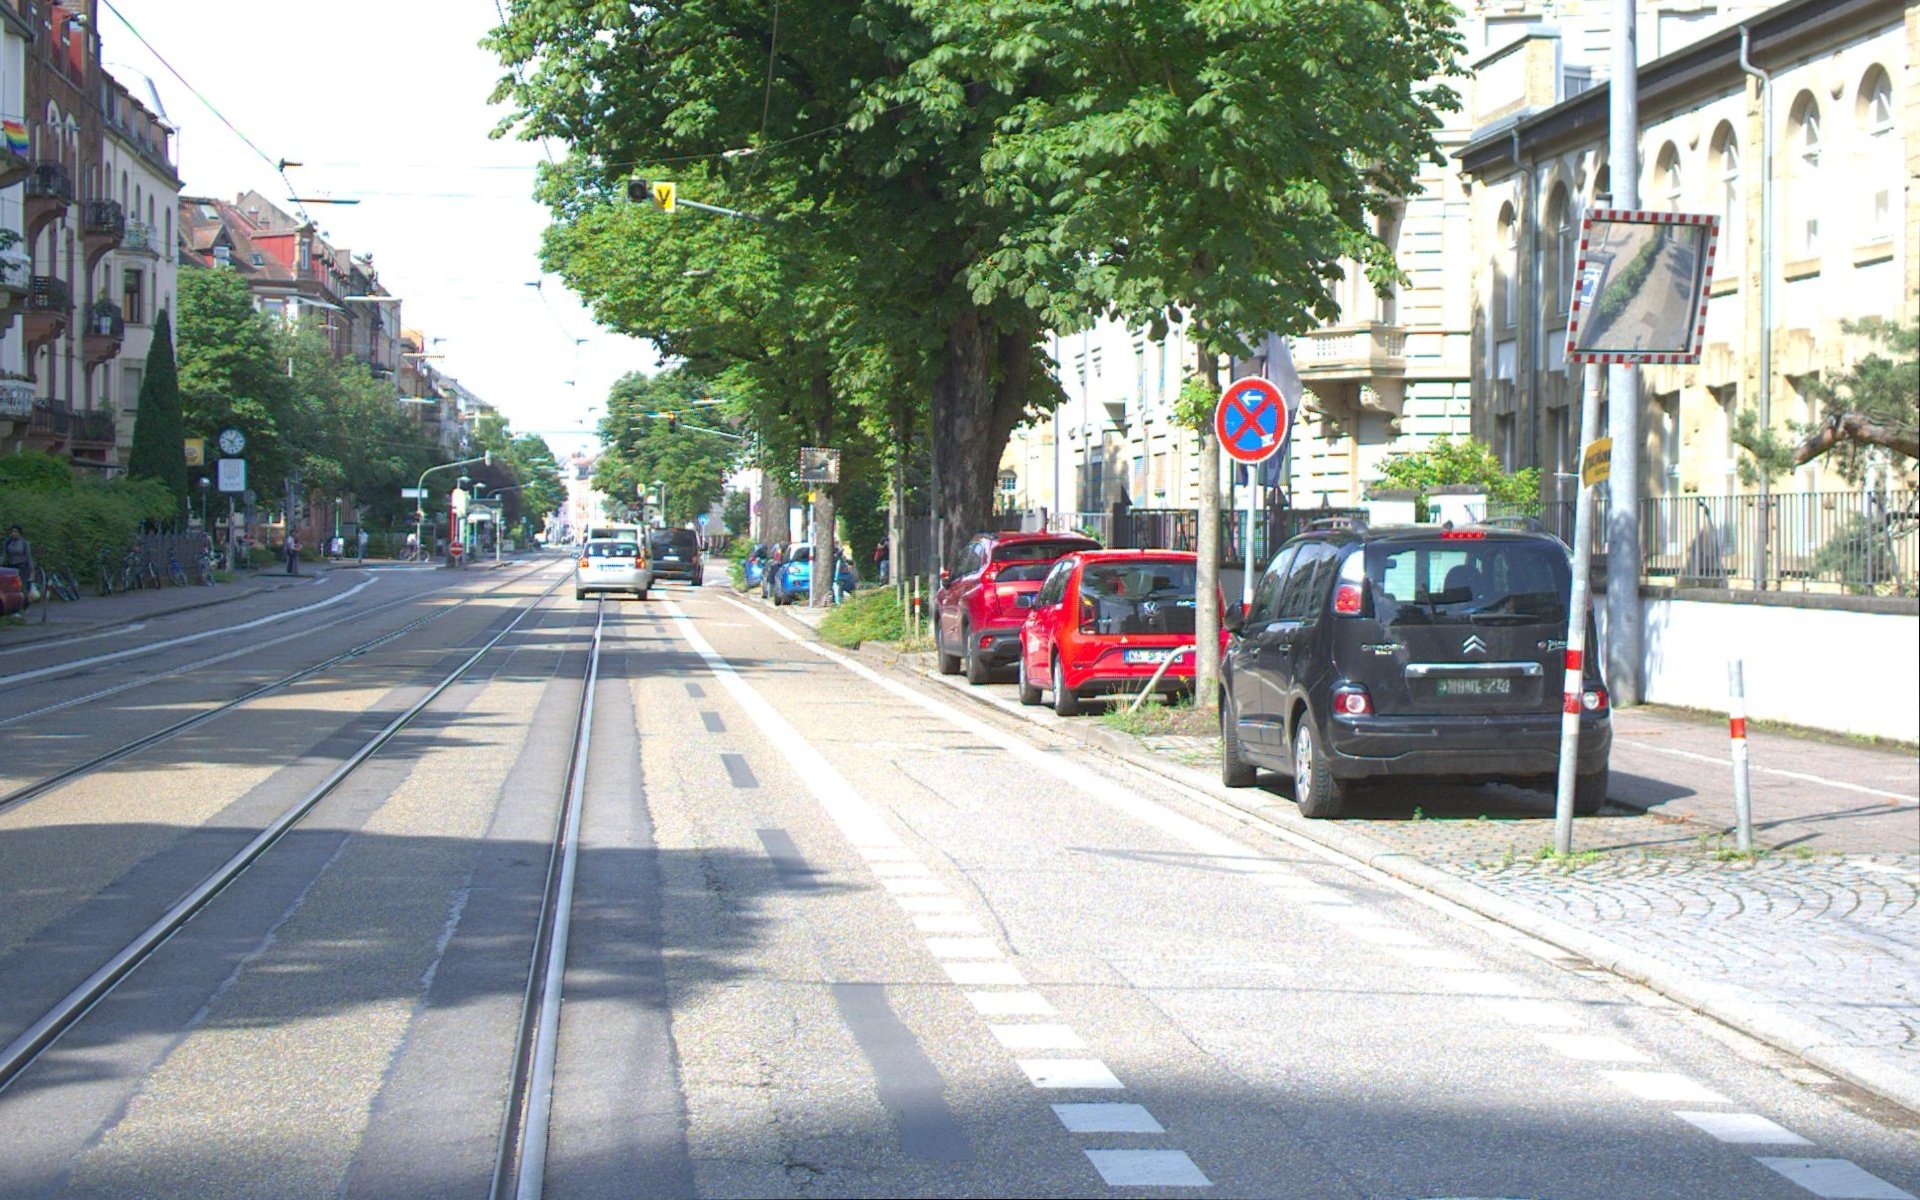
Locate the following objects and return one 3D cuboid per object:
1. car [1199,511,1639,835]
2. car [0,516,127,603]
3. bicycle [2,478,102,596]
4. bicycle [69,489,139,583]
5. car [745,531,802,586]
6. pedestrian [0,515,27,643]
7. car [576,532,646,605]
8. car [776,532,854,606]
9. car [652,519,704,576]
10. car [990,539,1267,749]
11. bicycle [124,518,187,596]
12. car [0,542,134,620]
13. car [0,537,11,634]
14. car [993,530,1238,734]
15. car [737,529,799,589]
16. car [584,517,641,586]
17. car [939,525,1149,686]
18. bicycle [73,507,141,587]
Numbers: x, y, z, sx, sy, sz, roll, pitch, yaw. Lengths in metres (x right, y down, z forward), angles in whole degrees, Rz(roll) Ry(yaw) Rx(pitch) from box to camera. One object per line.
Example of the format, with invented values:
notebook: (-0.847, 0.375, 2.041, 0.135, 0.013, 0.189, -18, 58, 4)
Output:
car: (2.553, 0.335, 19.921, 1.673, 1.606, 3.585, -3, 2, -6)
car: (-14.784, -0.620, 52.338, 3.776, 1.302, 1.637, 0, 1, -44)
bicycle: (-18.289, -1.263, 69.364, 0.938, 2.311, 4.000, 1, 1, 0)
bicycle: (-19.131, -1.428, 76.880, 0.938, 2.071, 2.499, 1, 1, 0)
car: (-5.854, -1.319, 107.553, 1.621, 1.678, 3.566, 0, 1, -6)
pedestrian: (-15.206, -0.328, 54.260, 0.733, 2.007, 0.824, 0, 1, -2)
car: (-8.265, -0.759, 81.424, 1.621, 1.678, 3.566, 0, 1, -6)
car: (-3.423, -0.735, 80.637, 1.621, 1.678, 3.566, 0, 1, -6)
car: (-9.331, -1.745, 113.684, 1.621, 1.842, 3.566, 0, 1, -6)
car: (1.246, 0.294, 26.716, 1.667, 1.481, 3.280, -2, 1, -5)
bicycle: (-19.903, -1.071, 85.095, 0.938, 1.912, 2.499, 1, 1, 0)
car: (-16.061, -0.326, 58.134, 3.776, 1.302, 1.637, 0, 1, -44)
car: (-14.719, -0.205, 45.619, 3.776, 1.302, 1.637, 0, 1, -44)
car: (1.366, 0.243, 31.553, 1.673, 1.606, 3.586, -3, 3, -6)
car: (-5.564, -1.192, 99.433, 1.621, 1.678, 3.566, 0, 1, -6)
car: (-10.194, -1.425, 100.717, 1.621, 1.993, 3.566, 0, 1, -6)
car: (0.883, 0.024, 38.598, 1.960, 1.700, 4.001, 0, 1, -4)
bicycle: (-18.829, -1.177, 75.934, 0.938, 1.740, 2.284, 1, 1, 0)
